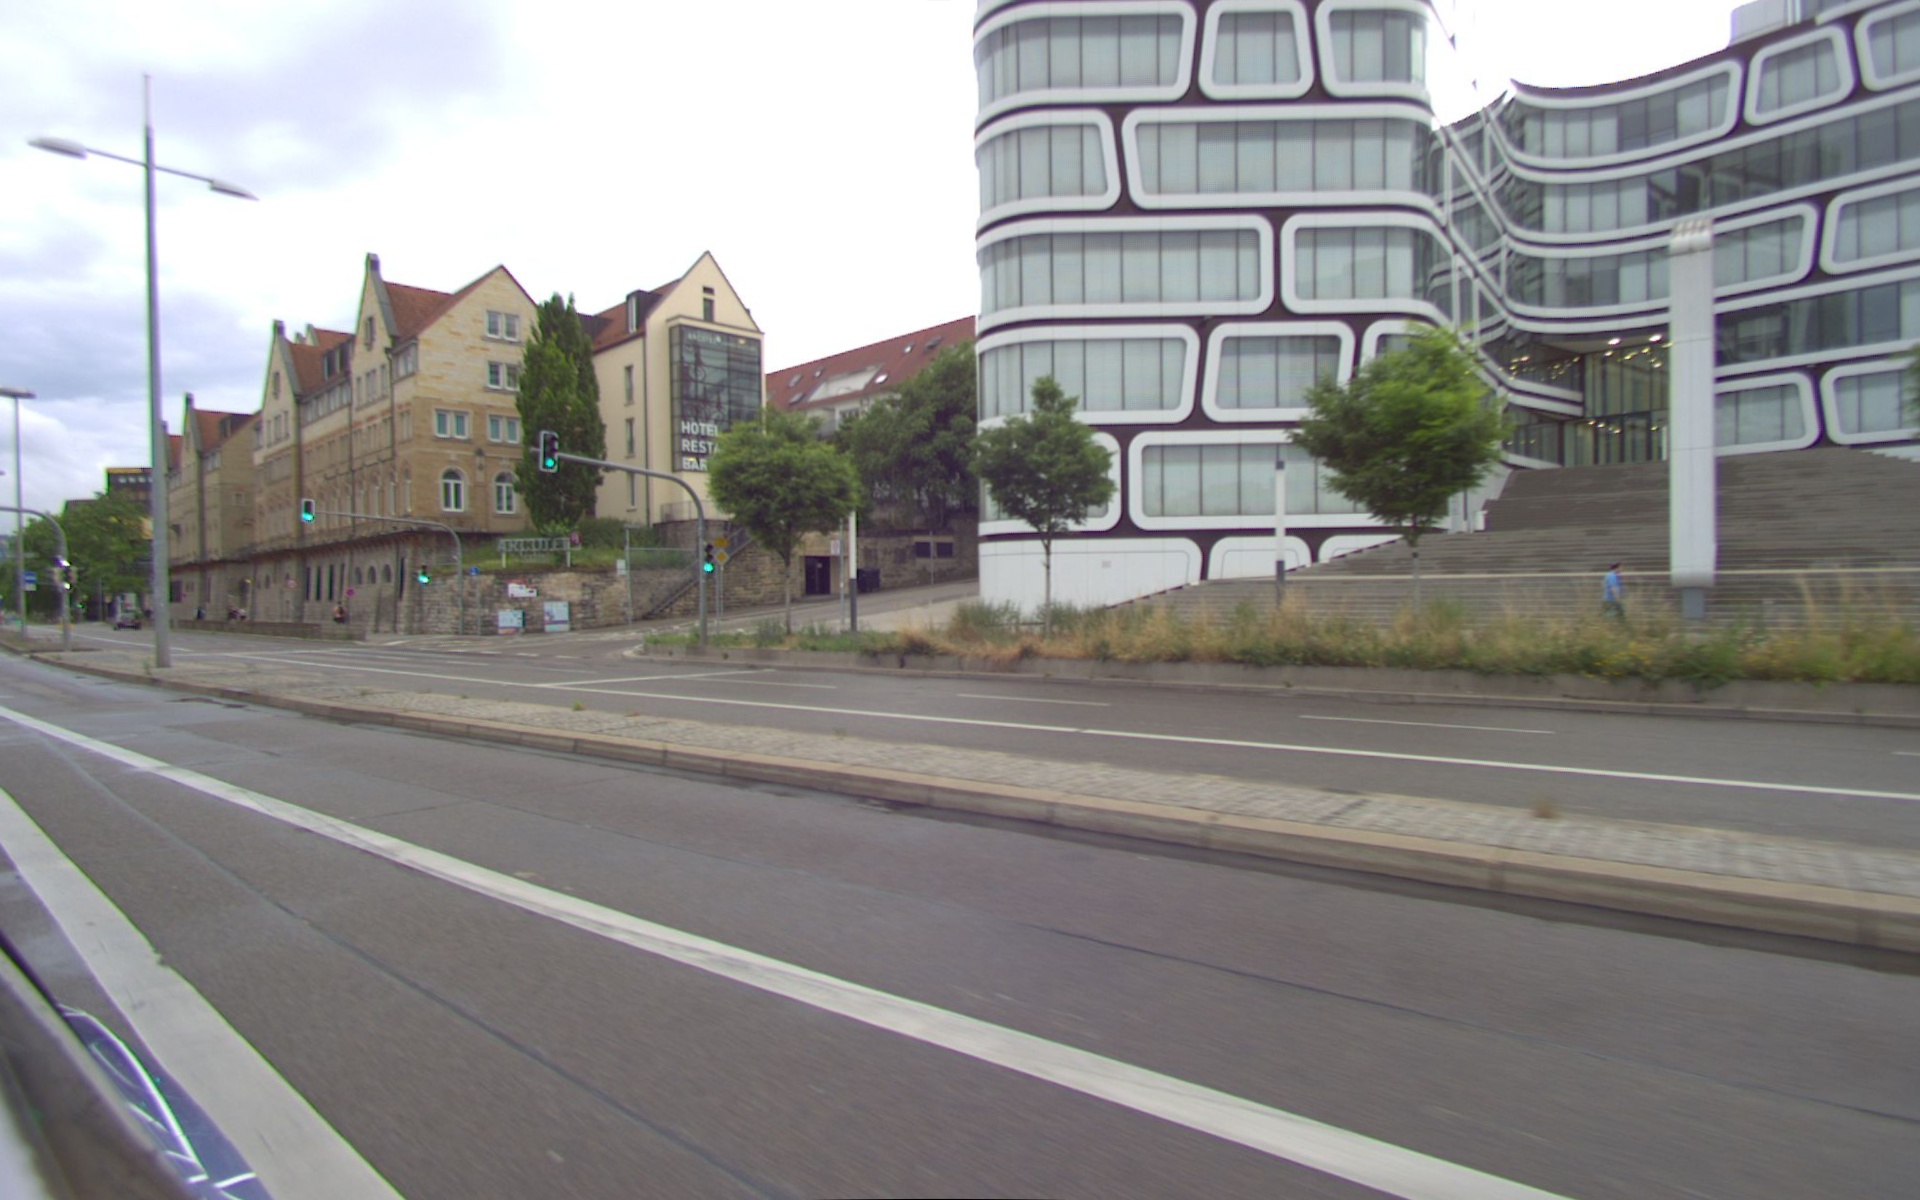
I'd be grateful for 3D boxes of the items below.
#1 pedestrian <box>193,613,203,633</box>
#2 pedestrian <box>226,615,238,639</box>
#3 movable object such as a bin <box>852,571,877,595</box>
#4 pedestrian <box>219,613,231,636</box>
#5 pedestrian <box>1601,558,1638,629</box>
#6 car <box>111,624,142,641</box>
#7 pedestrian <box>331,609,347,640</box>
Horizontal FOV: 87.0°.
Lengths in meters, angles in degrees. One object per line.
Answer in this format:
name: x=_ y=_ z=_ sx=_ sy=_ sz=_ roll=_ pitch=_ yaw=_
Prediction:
pedestrian: x=-69.147 y=2.092 z=91.822 sx=0.684 sy=1.792 sz=0.668 roll=0 pitch=0 yaw=44
pedestrian: x=-55.465 y=2.019 z=77.097 sx=0.684 sy=1.792 sz=0.668 roll=0 pitch=0 yaw=44
movable object such as a bin: x=-5.595 y=-0.973 z=59.164 sx=1.118 sy=1.252 sz=0.816 roll=-2 pitch=6 yaw=43
pedestrian: x=-59.778 y=1.985 z=82.263 sx=0.684 sy=1.792 sz=0.668 roll=0 pitch=0 yaw=44
pedestrian: x=15.381 y=-0.144 z=23.601 sx=0.639 sy=1.623 sz=0.604 roll=0 pitch=0 yaw=41
car: x=-73.584 y=2.852 z=89.323 sx=4.001 sy=1.475 sz=1.691 roll=-1 pitch=1 yaw=44
pedestrian: x=-36.507 y=1.415 z=59.463 sx=0.684 sy=1.792 sz=0.668 roll=0 pitch=0 yaw=44
